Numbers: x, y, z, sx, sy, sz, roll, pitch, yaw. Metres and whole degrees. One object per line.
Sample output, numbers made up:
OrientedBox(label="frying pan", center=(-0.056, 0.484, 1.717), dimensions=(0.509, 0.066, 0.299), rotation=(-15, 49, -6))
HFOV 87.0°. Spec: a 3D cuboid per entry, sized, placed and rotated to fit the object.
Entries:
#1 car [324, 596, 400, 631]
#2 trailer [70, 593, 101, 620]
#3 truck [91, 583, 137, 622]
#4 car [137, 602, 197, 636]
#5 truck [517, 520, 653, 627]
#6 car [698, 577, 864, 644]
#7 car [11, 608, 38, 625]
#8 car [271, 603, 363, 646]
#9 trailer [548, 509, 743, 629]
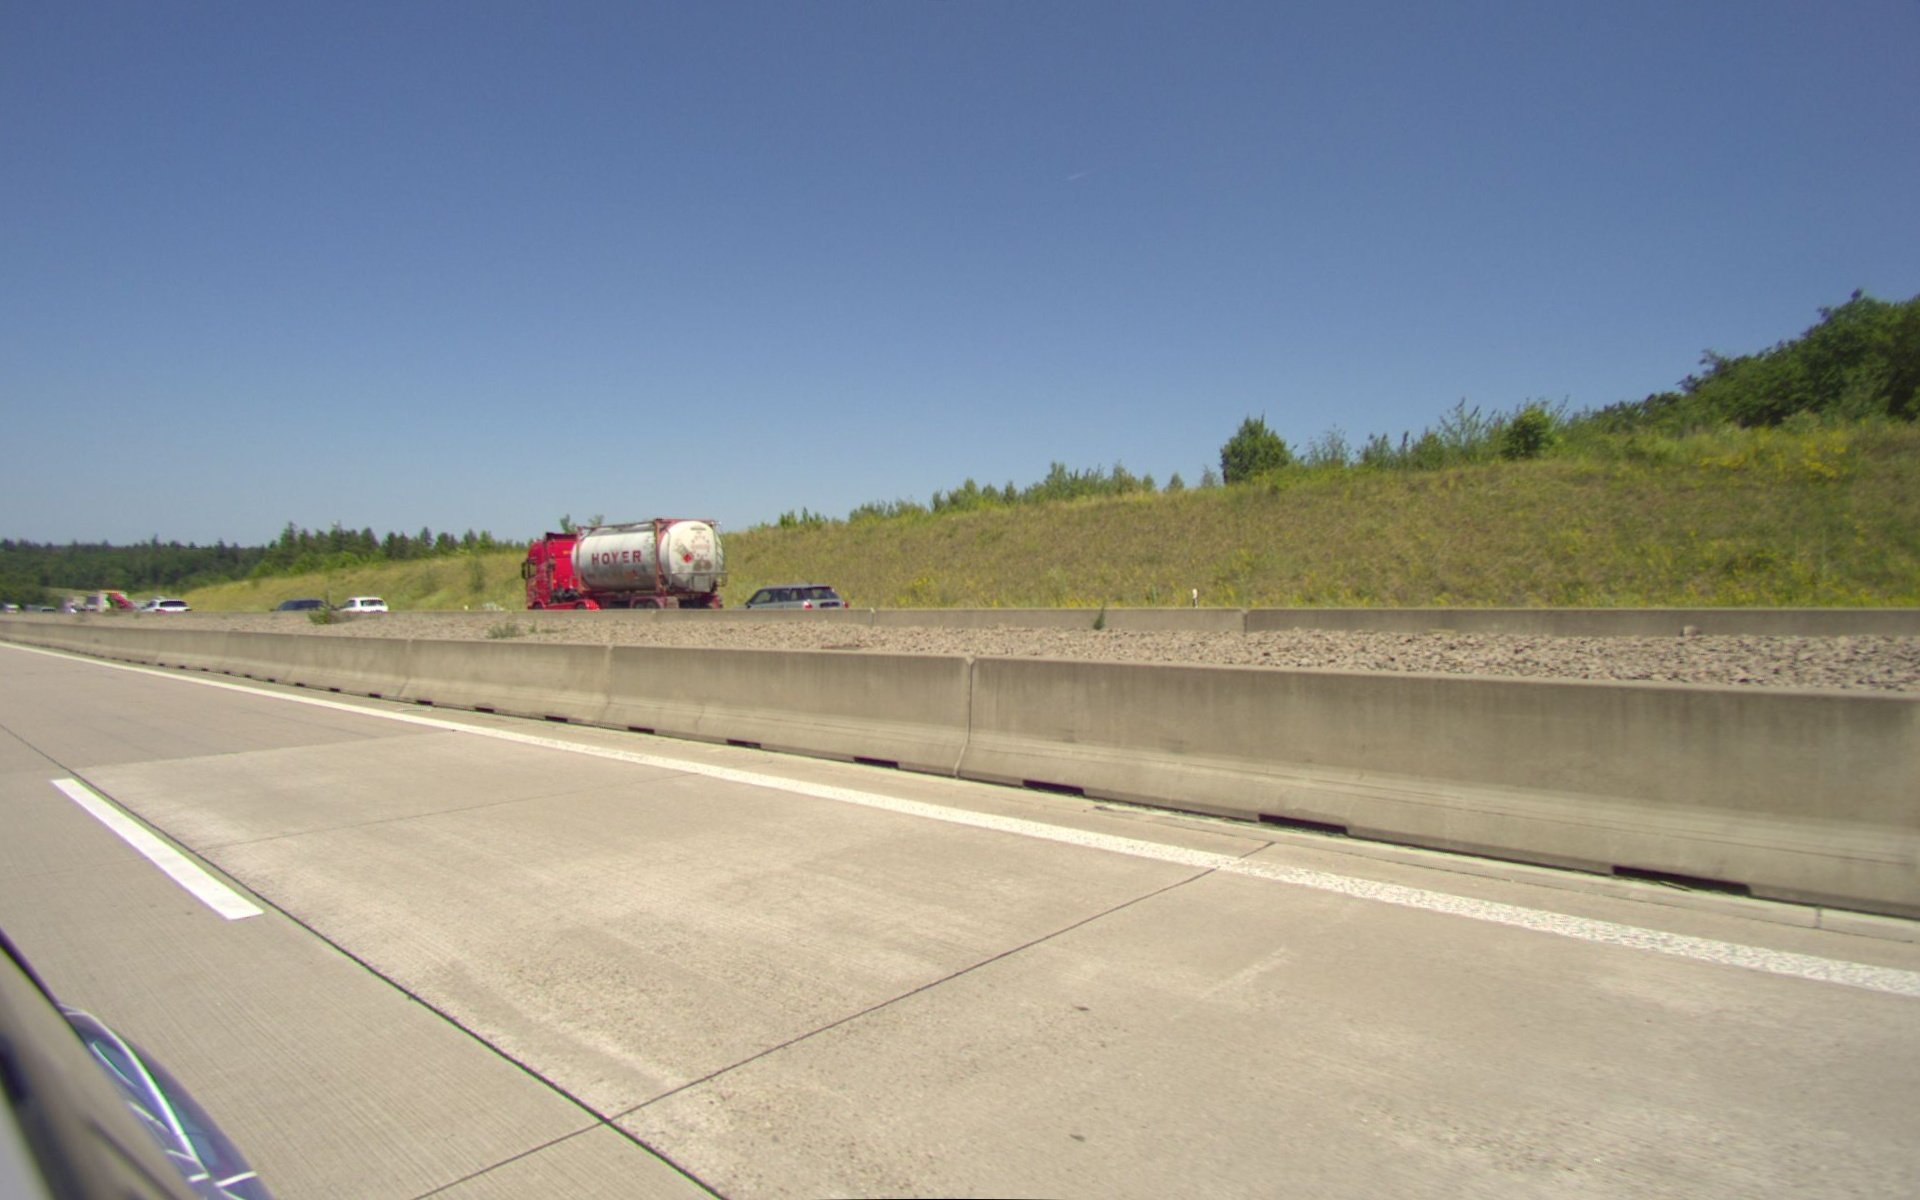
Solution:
OrientedBox(label="car", center=(-28.529, 0.620, 48.239), dimensions=(4.178, 1.595, 1.972), rotation=(-1, 0, 42))
OrientedBox(label="trailer", center=(-146.001, 1.099, 168.927), dimensions=(2.900, 4.200, 13.196), rotation=(-1, 0, -45))
OrientedBox(label="truck", center=(-103.760, 0.375, 124.078), dimensions=(11.258, 4.548, 2.882), rotation=(-1, -2, 43))
OrientedBox(label="car", center=(-47.143, 1.102, 60.095), dimensions=(4.967, 1.887, 1.972), rotation=(-1, 0, 42))
OrientedBox(label="truck", center=(-15.897, -1.052, 42.715), dimensions=(5.980, 4.200, 2.902), rotation=(-1, 0, 42))
OrientedBox(label="car", center=(-4.747, 0.268, 26.494), dimensions=(4.429, 1.595, 1.972), rotation=(-1, 0, 42))
OrientedBox(label="car", center=(-119.011, 2.109, 128.757), dimensions=(4.458, 2.029, 1.973), rotation=(-1, -2, 41))
OrientedBox(label="car", center=(-25.784, 0.968, 40.534), dimensions=(4.462, 1.595, 1.972), rotation=(-1, 0, 42))
OrientedBox(label="trailer", center=(-12.543, -1.087, 39.694), dimensions=(9.332, 4.200, 2.902), rotation=(-1, 0, 42))
